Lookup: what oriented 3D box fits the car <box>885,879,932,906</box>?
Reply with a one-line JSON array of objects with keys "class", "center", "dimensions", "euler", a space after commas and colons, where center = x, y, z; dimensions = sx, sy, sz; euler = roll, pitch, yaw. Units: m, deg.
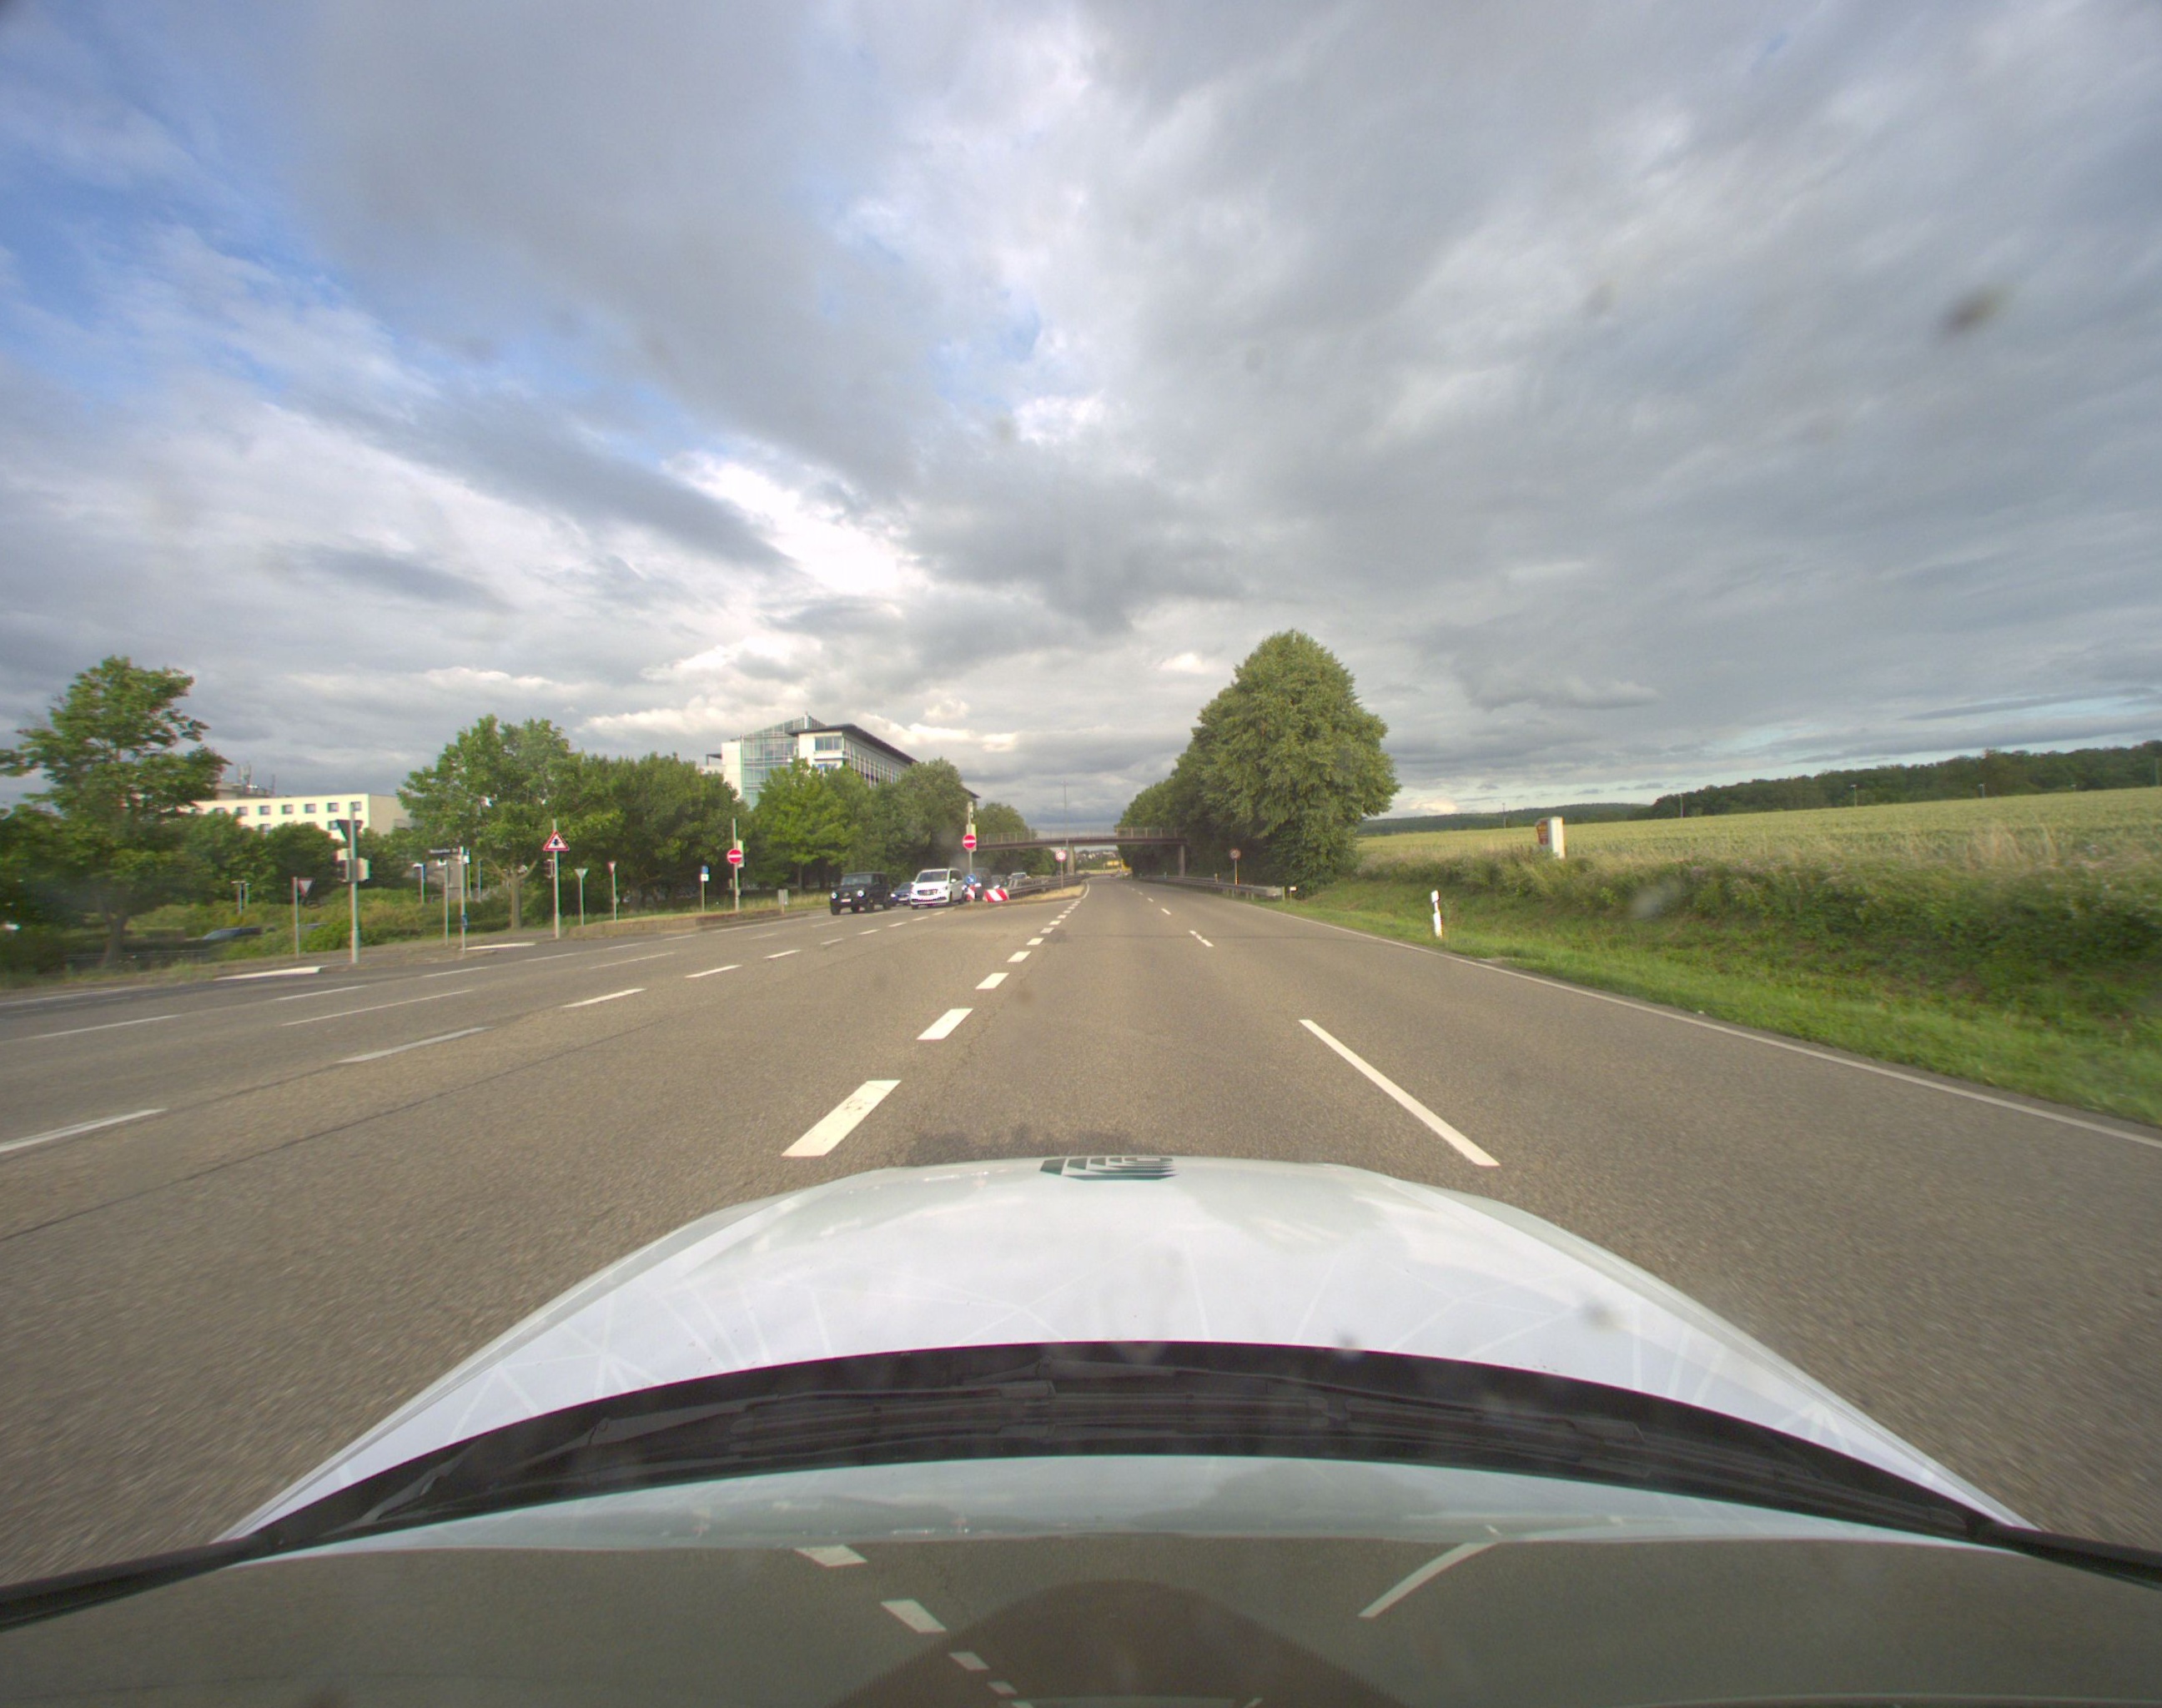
[{"class": "car", "center": [-10.096, 2.222, 47.915], "dimensions": [1.641, 1.388, 4.188], "euler": [-3, -1, 3]}]

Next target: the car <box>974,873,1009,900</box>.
[{"class": "car", "center": [-6.164, 2.206, 56.484], "dimensions": [1.707, 1.589, 4.555], "euler": [-6, -1, 1]}]

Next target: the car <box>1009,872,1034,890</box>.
[{"class": "car", "center": [-5.613, 2.520, 76.907], "dimensions": [1.816, 1.584, 4.791], "euler": [-4, -1, 1]}]

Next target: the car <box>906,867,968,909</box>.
[{"class": "car", "center": [-7.076, 1.645, 40.712], "dimensions": [1.927, 1.872, 5.348], "euler": [-3, -1, 1]}]

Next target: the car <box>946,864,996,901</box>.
[{"class": "car", "center": [-6.528, 1.666, 48.742], "dimensions": [1.891, 1.917, 5.053], "euler": [-5, -2, 3]}]

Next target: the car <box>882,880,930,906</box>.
[{"class": "car", "center": [-10.229, 2.238, 47.898], "dimensions": [1.715, 1.240, 4.001], "euler": [-5, -1, 1]}]

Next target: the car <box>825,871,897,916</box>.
[{"class": "car", "center": [-10.759, 1.877, 40.228], "dimensions": [1.927, 1.990, 5.092], "euler": [-3, -1, 1]}]
